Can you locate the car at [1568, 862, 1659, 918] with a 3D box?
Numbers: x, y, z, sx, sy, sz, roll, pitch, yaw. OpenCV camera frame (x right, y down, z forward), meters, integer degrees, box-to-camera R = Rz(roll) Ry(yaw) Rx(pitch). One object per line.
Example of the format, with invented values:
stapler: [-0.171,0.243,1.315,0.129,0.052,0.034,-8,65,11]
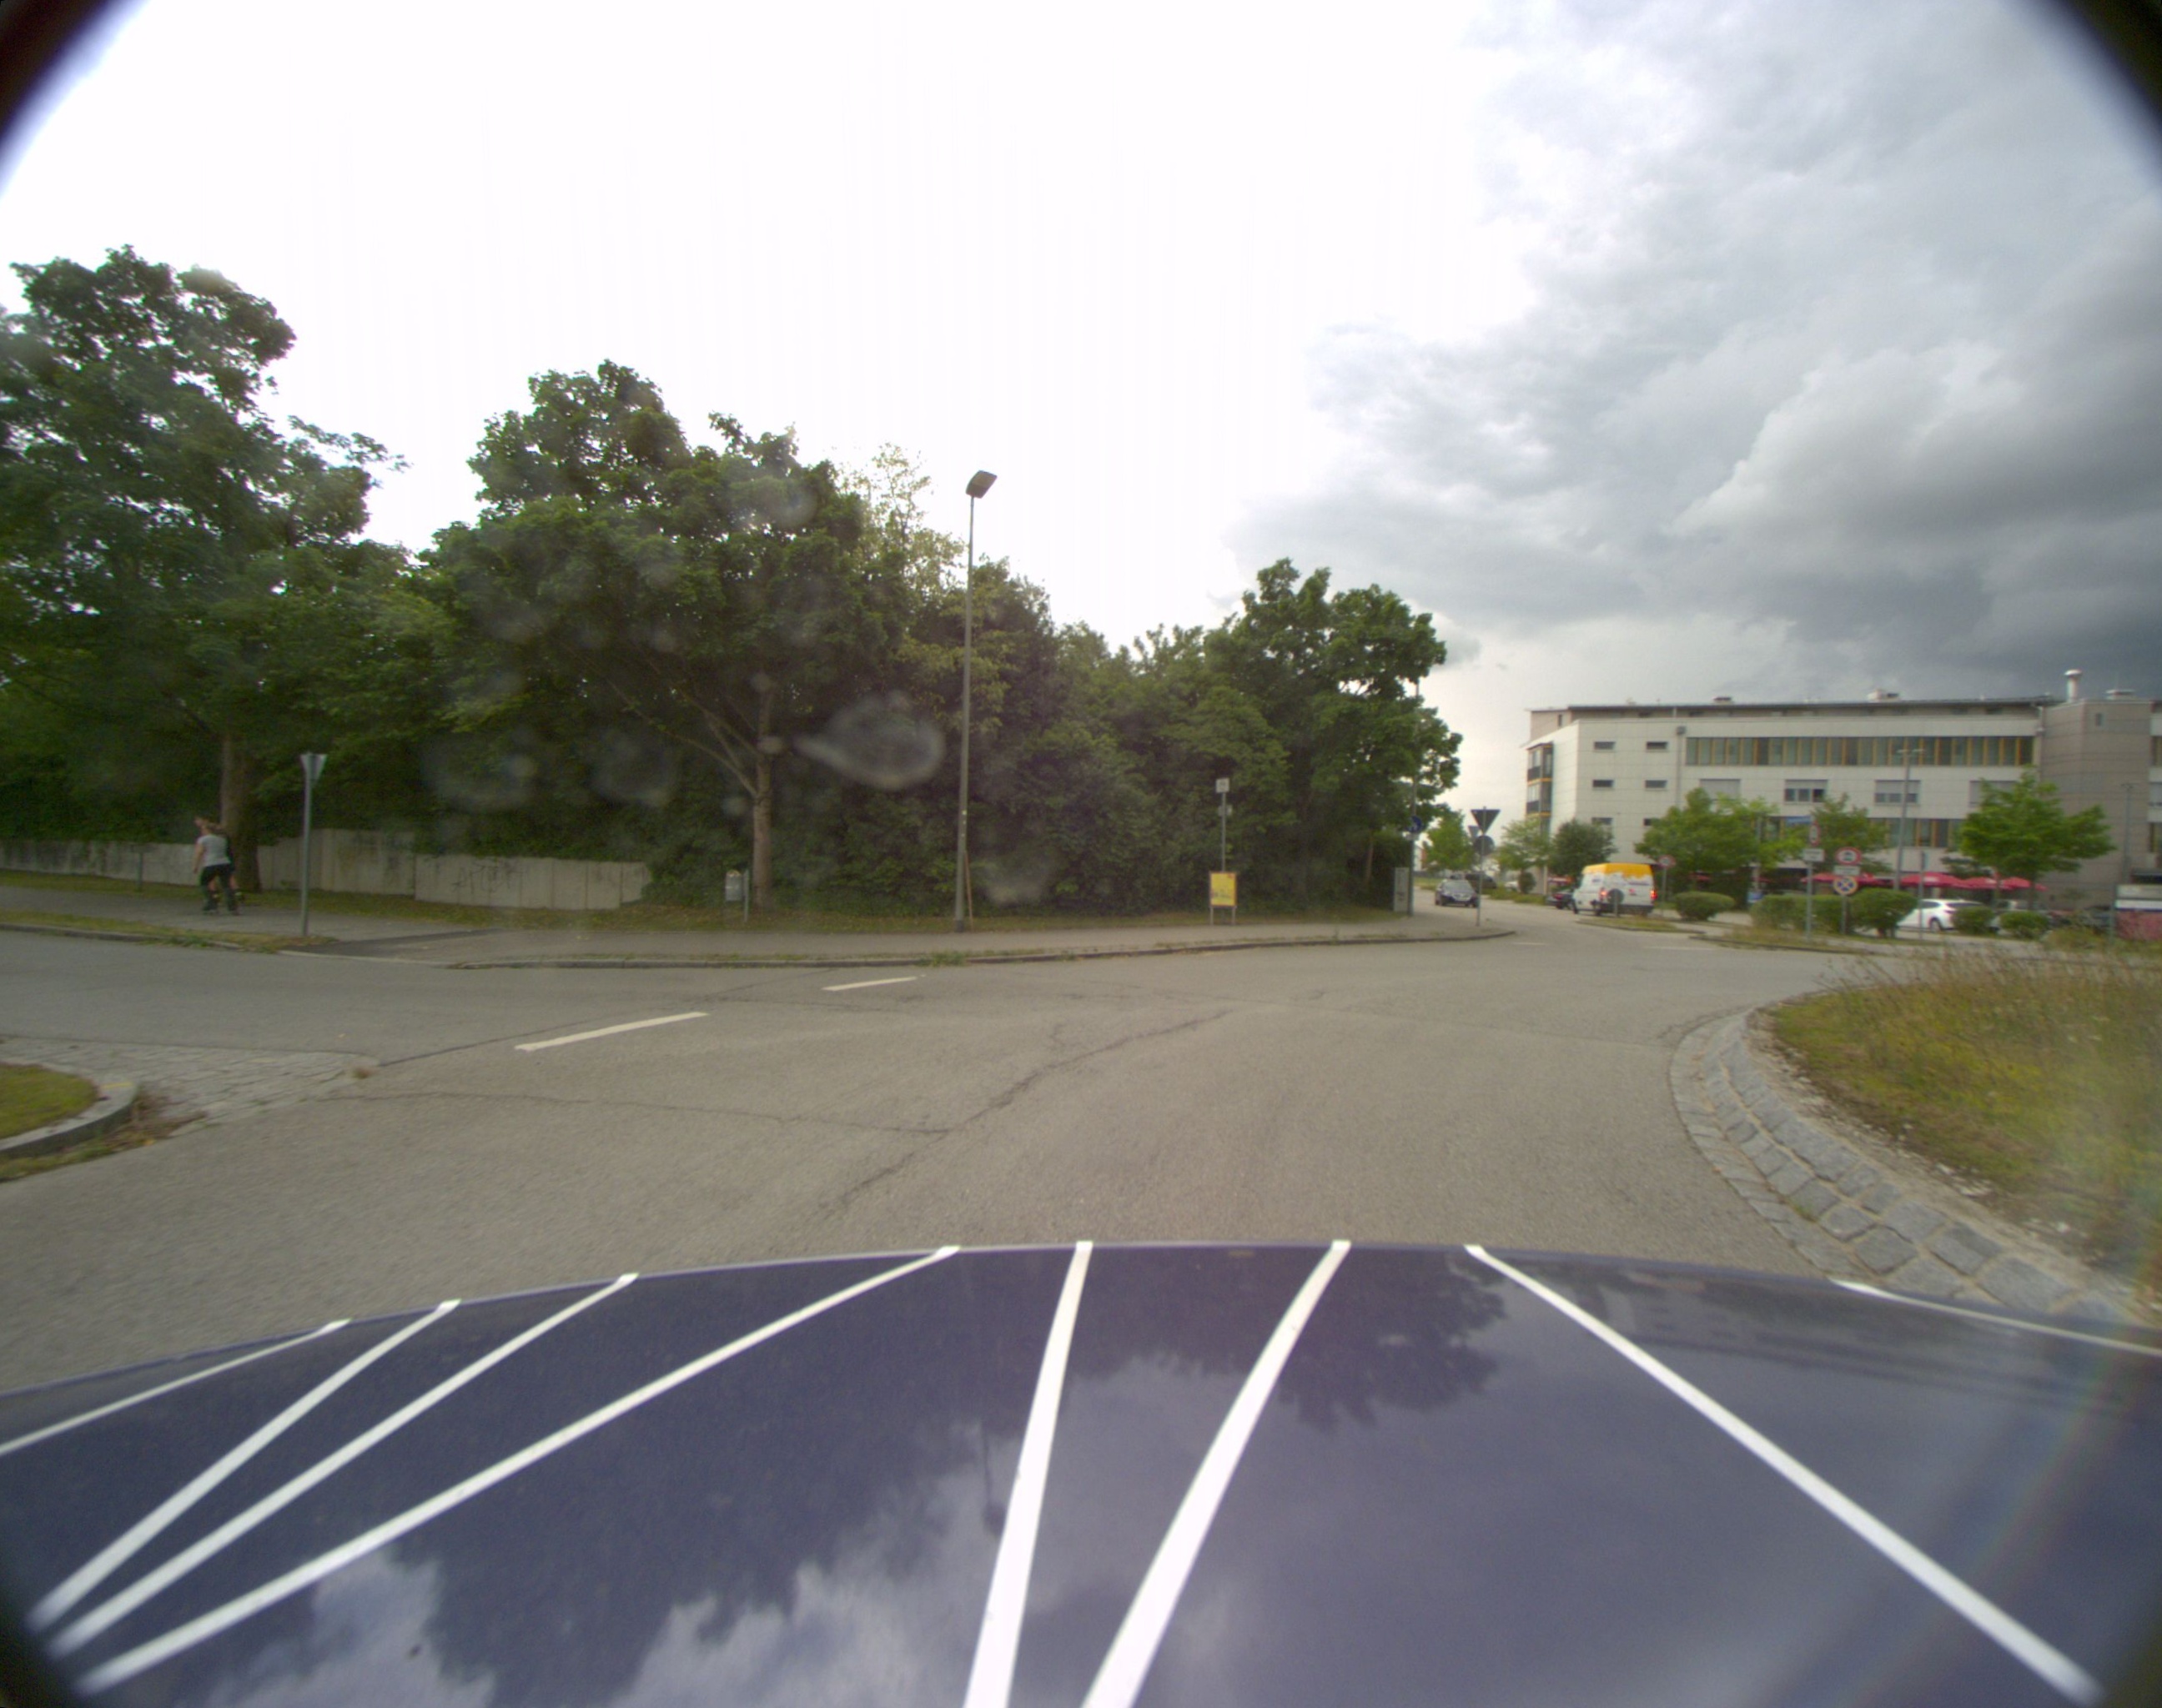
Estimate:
car: [24.798,1.659,35.592,2.185,2.441,4.521,-2,-2,18]

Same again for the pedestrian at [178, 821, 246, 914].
pedestrian: [-17.376,0.258,15.204,0.614,1.798,0.636,1,2,10]

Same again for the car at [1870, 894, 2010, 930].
car: [37.121,2.473,33.029,1.945,1.388,4.521,-2,-2,18]

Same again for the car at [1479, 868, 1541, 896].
car: [34.963,2.253,62.084,3.991,2.002,2.003,2,0,16]

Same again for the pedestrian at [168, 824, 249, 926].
pedestrian: [-15.731,0.360,13.718,0.594,1.770,0.732,1,2,10]

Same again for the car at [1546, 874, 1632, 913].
car: [29.268,2.227,43.923,3.988,2.002,2.004,2,0,32]

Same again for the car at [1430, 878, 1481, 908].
car: [20.362,2.103,41.501,1.868,1.495,4.139,-2,-2,18]
